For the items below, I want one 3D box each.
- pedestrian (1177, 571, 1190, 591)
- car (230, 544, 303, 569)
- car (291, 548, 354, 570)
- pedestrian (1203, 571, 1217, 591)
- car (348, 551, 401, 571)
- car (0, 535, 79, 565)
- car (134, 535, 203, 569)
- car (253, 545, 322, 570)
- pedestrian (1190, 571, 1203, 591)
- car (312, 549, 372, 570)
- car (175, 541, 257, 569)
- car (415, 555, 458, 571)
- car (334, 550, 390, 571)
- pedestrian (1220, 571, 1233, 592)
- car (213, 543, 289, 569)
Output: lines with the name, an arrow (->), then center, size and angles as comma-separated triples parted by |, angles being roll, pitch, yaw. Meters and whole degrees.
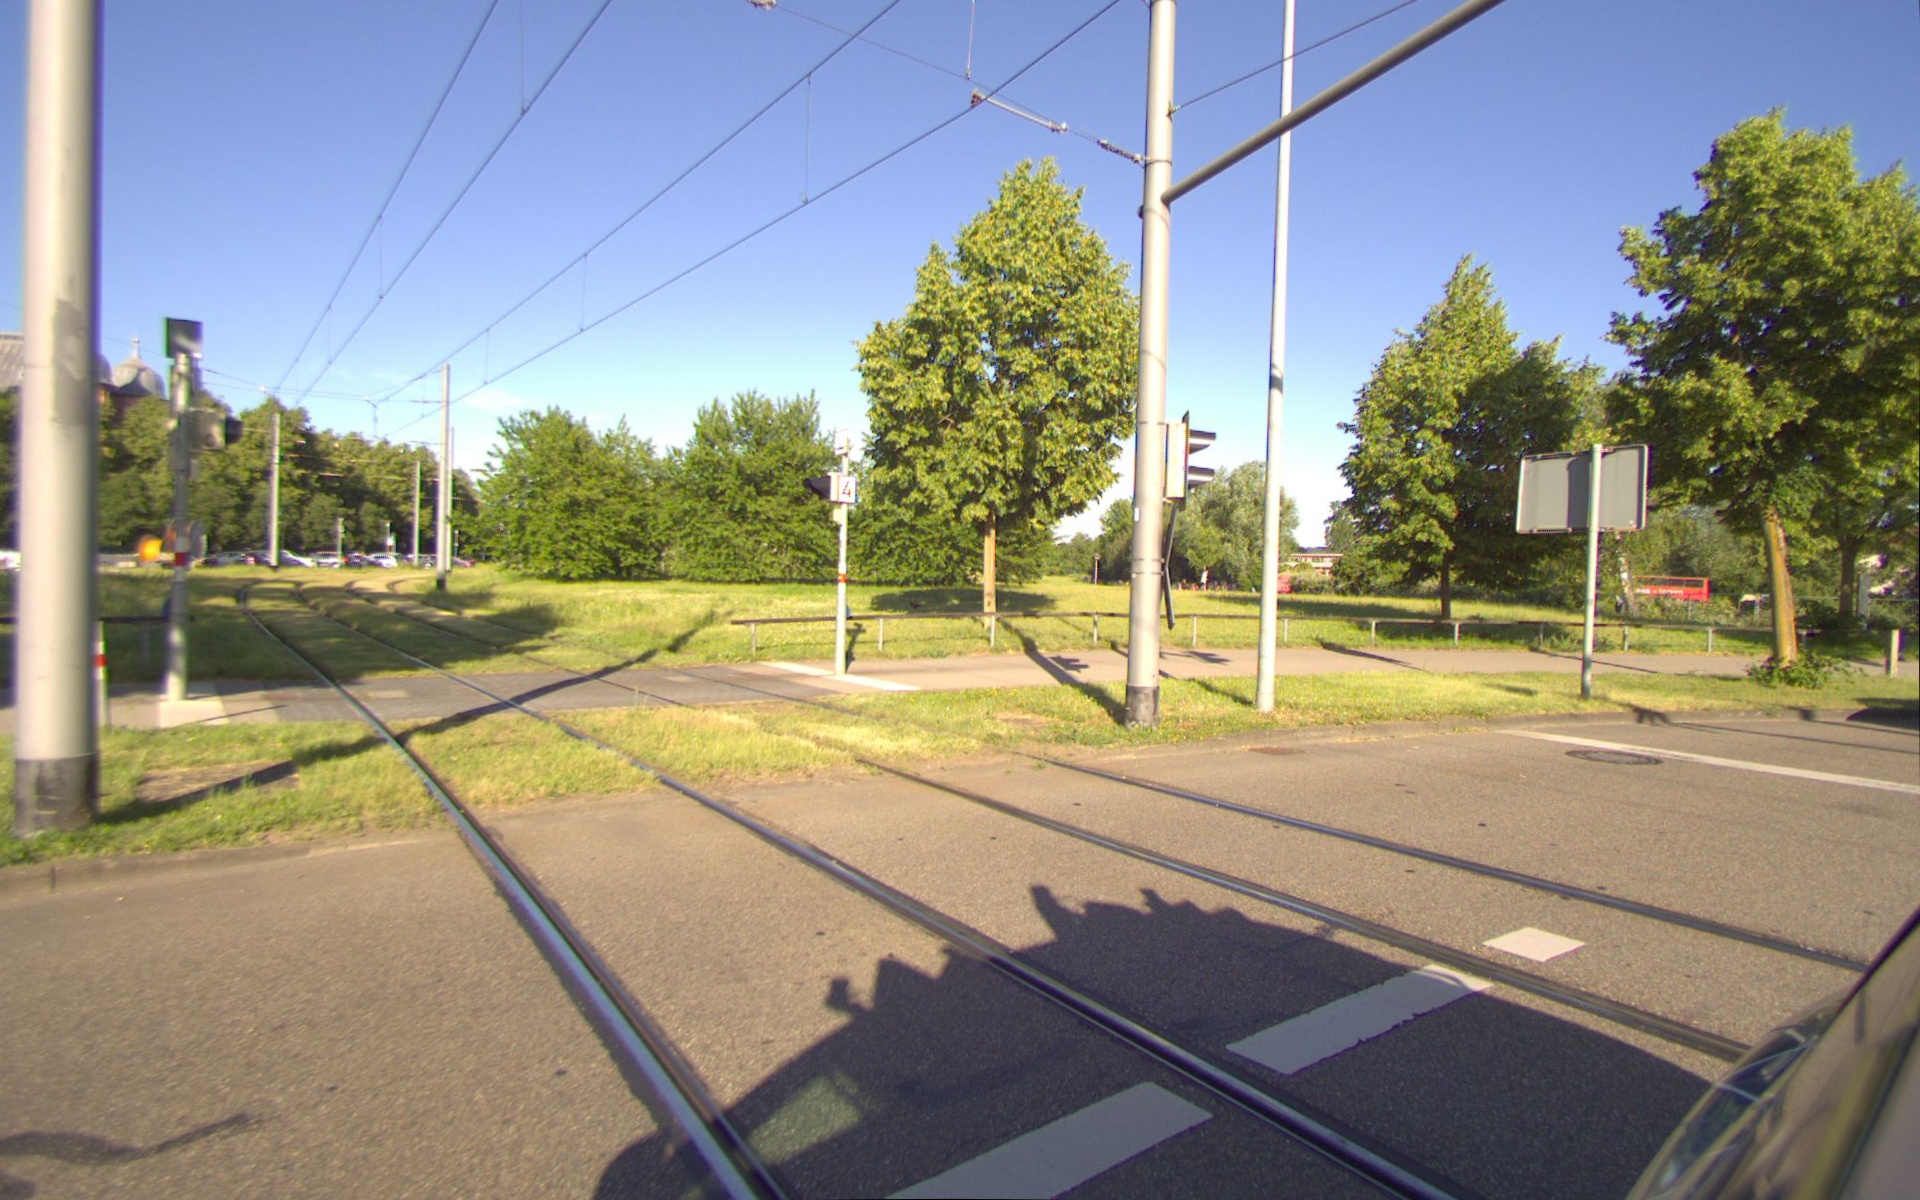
pedestrian -> 16.981, -1.416, 76.857 | 0.682, 1.458, 0.785 | 3, 2, 32
car -> -50.328, -3.112, 73.480 | 3.916, 1.778, 1.919 | 0, 1, -13
car -> -52.030, -3.339, 82.706 | 3.916, 1.778, 1.919 | 0, 1, -13
pedestrian -> 18.703, -1.387, 75.682 | 0.768, 1.458, 0.785 | 3, 2, 33
car -> -54.839, -3.640, 94.910 | 3.916, 1.778, 1.919 | 0, 1, -13
car -> -60.951, -3.282, 66.682 | 3.916, 1.919, 2.004 | 0, 1, -13
car -> -63.825, -3.876, 81.679 | 3.916, 2.686, 2.004 | 0, 1, -13
car -> -50.480, -3.175, 76.025 | 3.916, 1.778, 1.919 | 0, 1, -13
pedestrian -> 17.709, -1.392, 75.879 | 0.682, 1.458, 0.785 | 3, 2, 32
car -> -52.085, -3.405, 85.373 | 3.916, 1.778, 1.919 | 0, 1, -13
car -> -49.433, -2.961, 67.353 | 3.916, 1.778, 2.004 | 0, 1, -13
car -> -58.016, -4.067, 112.201 | 3.916, 1.778, 1.919 | 0, 1, -13
car -> -54.077, -3.558, 91.555 | 3.916, 1.778, 1.919 | 0, 1, -13
pedestrian -> 19.668, -1.365, 74.754 | 0.657, 1.458, 0.785 | 3, 2, 32
car -> -49.715, -3.052, 71.034 | 3.916, 1.778, 1.919 | 0, 1, -13
